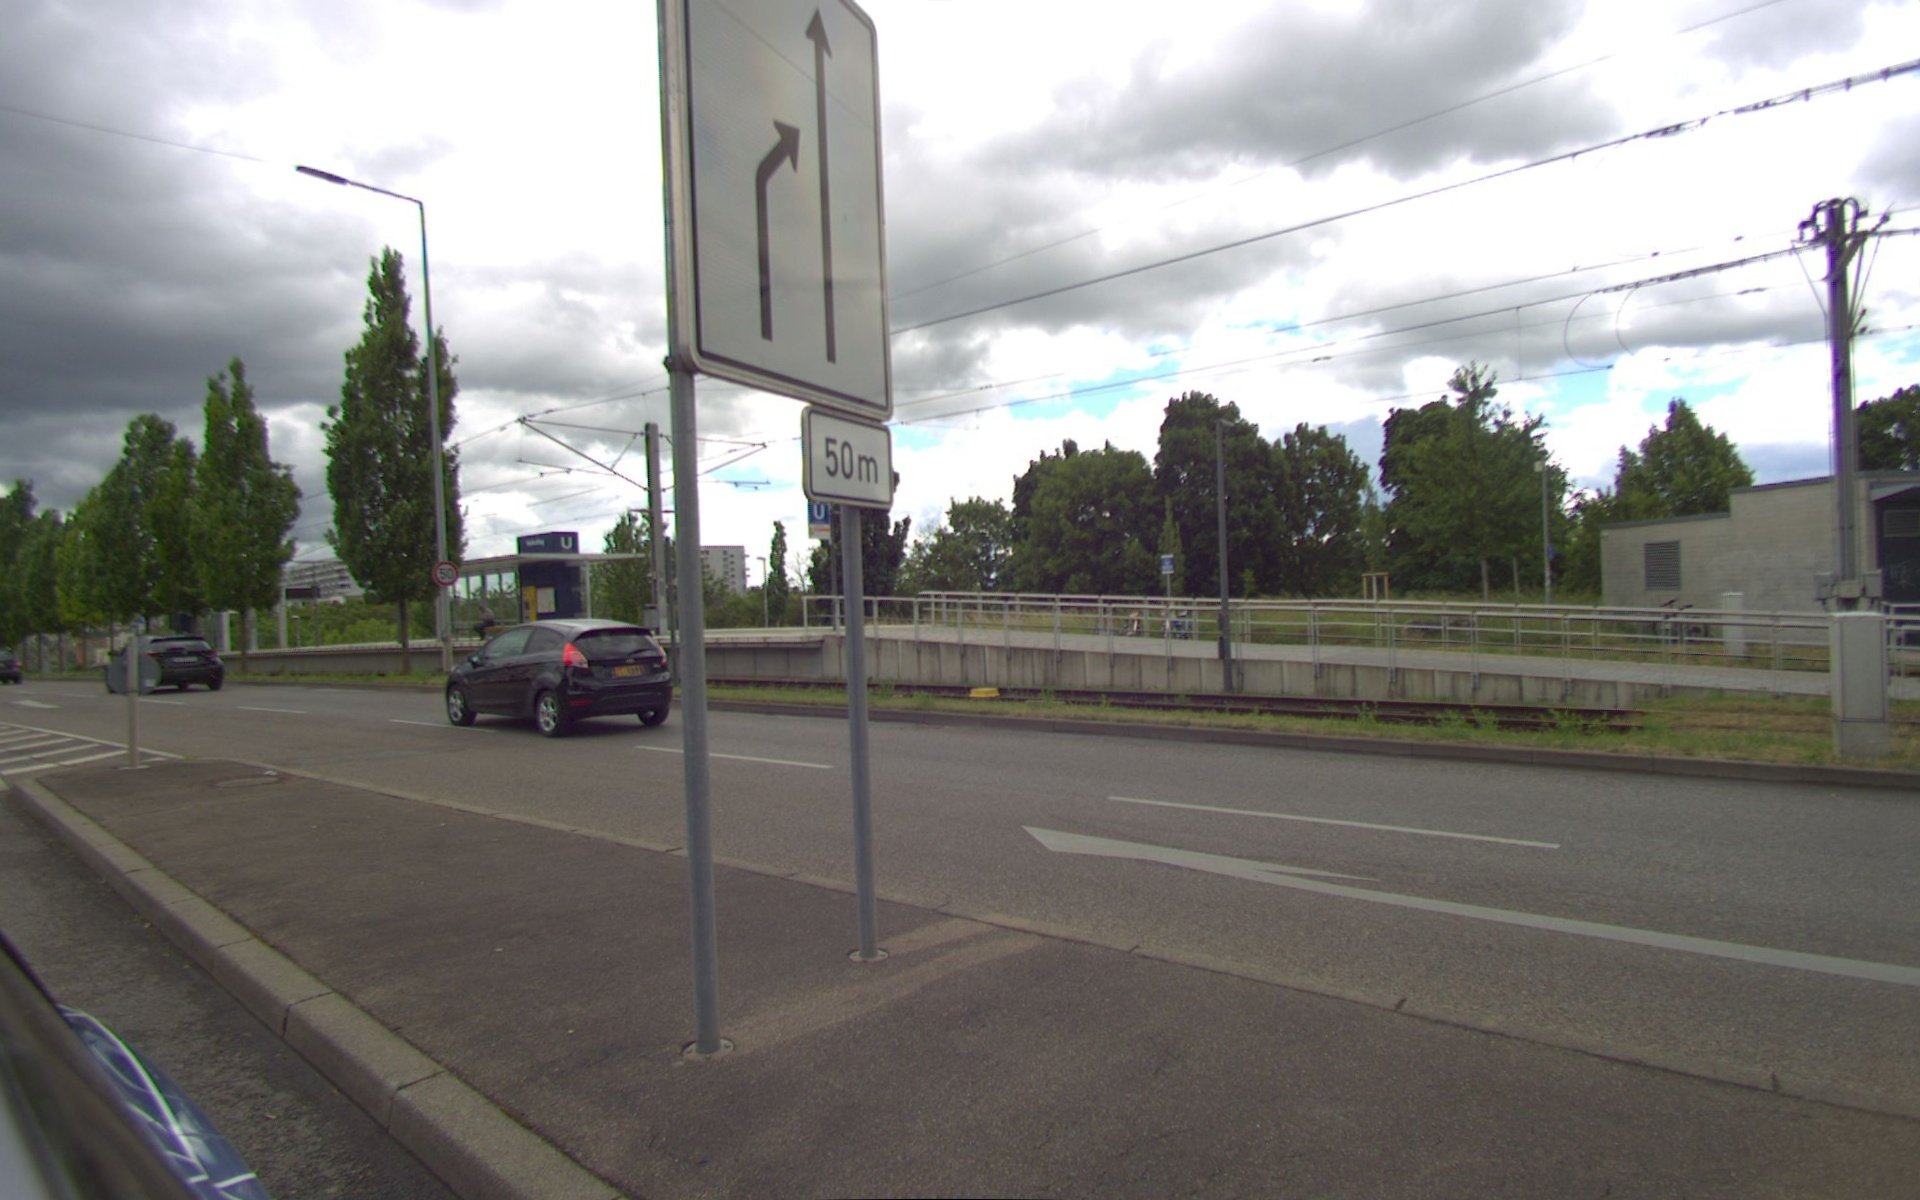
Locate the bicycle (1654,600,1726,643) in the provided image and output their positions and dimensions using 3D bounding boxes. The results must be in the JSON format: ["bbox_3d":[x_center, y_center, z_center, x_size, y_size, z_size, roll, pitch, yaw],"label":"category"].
[{"bbox_3d":[18.545,0.536,25.752,0.529,1.039,1.813,-1,0,1],"label":"bicycle"}]

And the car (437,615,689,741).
[{"bbox_3d":[-5.484,0.969,13.795,3.658,1.460,1.678,-2,-1,41],"label":"car"}]

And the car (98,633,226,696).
[{"bbox_3d":[-20.628,1.637,26.112,3.928,1.460,1.680,-3,-1,37],"label":"car"}]

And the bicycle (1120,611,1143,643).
[{"bbox_3d":[5.793,0.893,34.091,0.531,1.039,1.804,-1,0,16],"label":"bicycle"}]

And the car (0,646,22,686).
[{"bbox_3d":[-37.778,2.538,39.063,3.930,1.460,1.790,-2,-1,39],"label":"car"}]

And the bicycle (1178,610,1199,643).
[{"bbox_3d":[7.518,0.849,33.295,0.531,1.039,1.804,-1,0,16],"label":"bicycle"}]

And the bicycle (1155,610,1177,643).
[{"bbox_3d":[6.849,0.856,33.638,0.531,1.039,1.804,-1,0,16],"label":"bicycle"}]

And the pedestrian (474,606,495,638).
[{"bbox_3d":[-17.706,0.829,37.682,0.447,1.163,0.593,-1,0,41],"label":"pedestrian"}]

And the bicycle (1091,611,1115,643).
[{"bbox_3d":[4.882,0.921,34.567,0.531,1.039,1.804,-1,0,16],"label":"bicycle"}]
